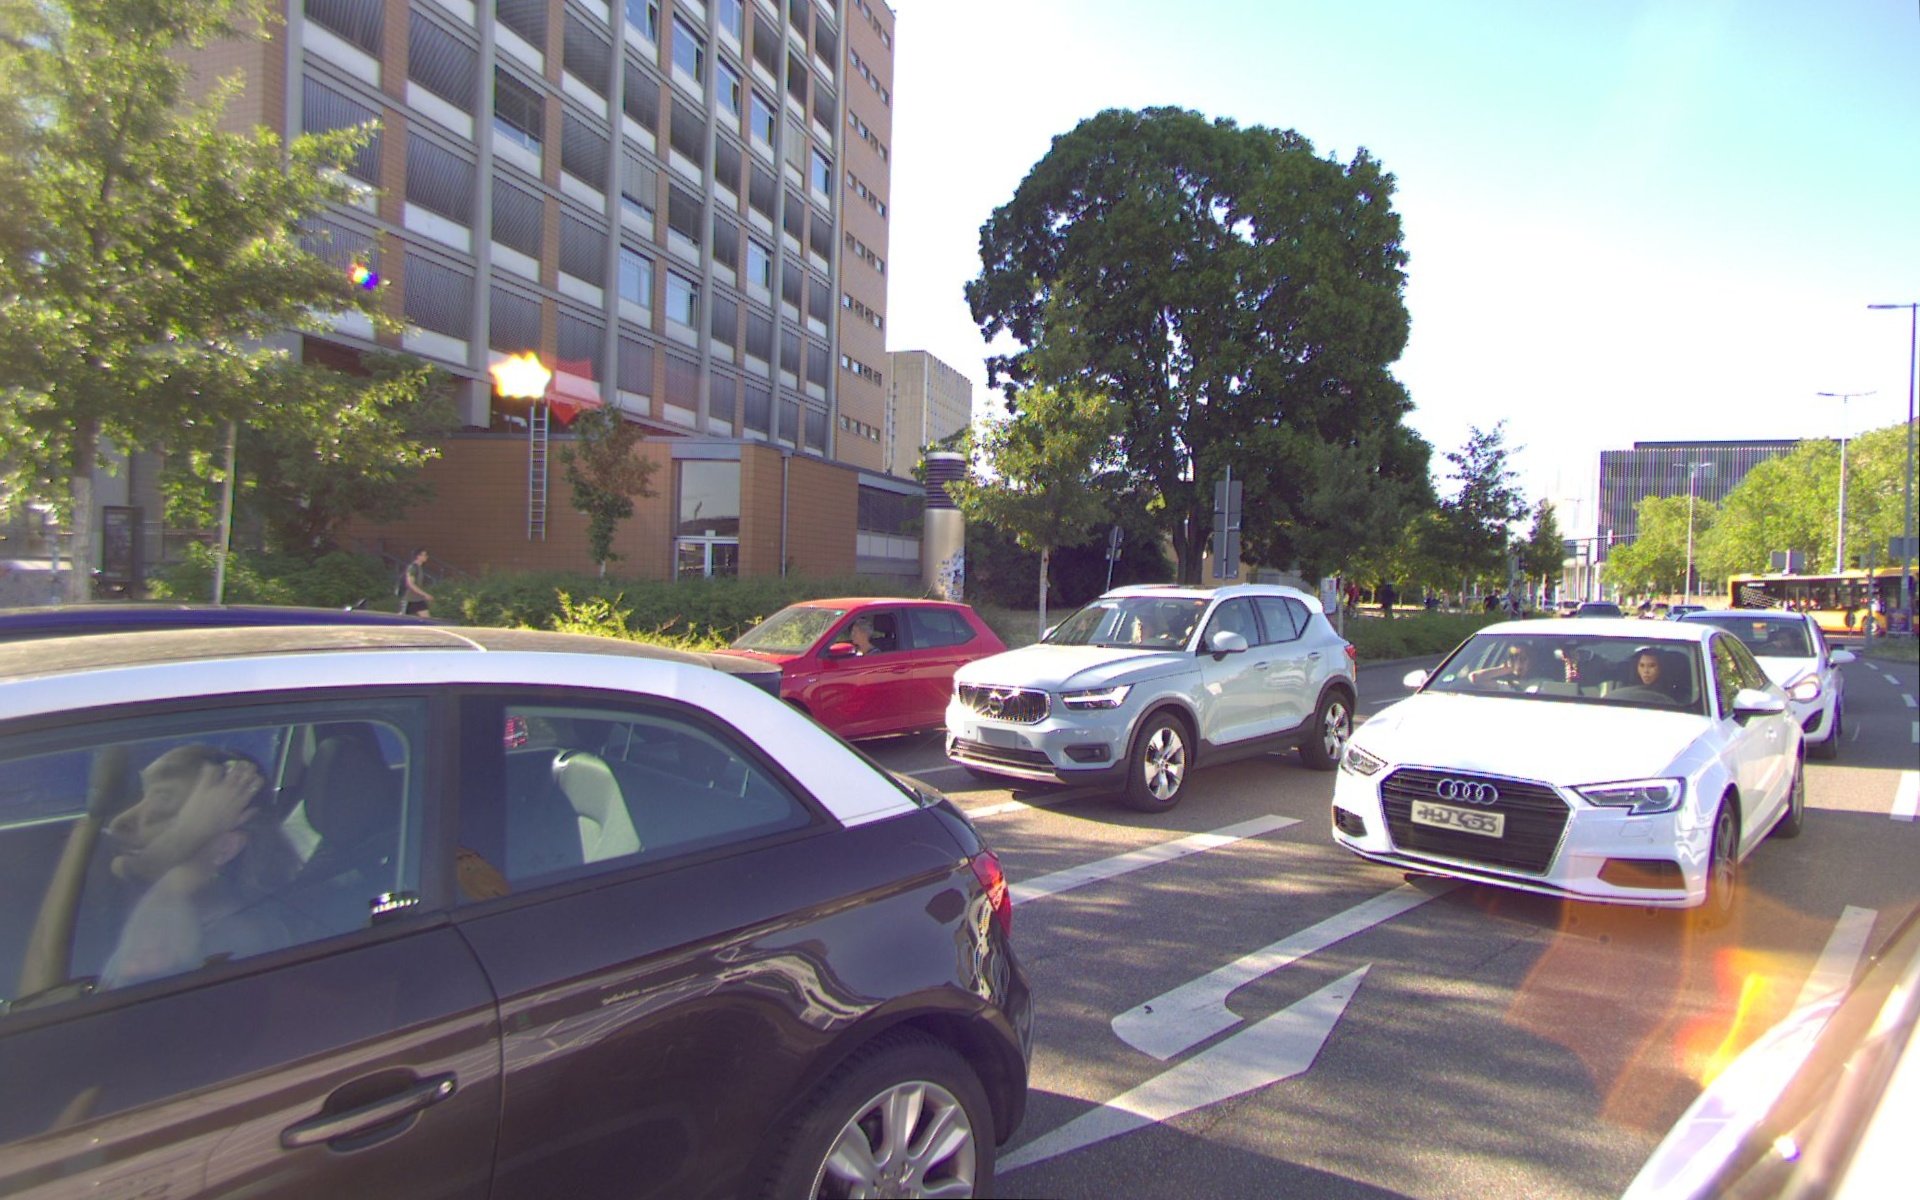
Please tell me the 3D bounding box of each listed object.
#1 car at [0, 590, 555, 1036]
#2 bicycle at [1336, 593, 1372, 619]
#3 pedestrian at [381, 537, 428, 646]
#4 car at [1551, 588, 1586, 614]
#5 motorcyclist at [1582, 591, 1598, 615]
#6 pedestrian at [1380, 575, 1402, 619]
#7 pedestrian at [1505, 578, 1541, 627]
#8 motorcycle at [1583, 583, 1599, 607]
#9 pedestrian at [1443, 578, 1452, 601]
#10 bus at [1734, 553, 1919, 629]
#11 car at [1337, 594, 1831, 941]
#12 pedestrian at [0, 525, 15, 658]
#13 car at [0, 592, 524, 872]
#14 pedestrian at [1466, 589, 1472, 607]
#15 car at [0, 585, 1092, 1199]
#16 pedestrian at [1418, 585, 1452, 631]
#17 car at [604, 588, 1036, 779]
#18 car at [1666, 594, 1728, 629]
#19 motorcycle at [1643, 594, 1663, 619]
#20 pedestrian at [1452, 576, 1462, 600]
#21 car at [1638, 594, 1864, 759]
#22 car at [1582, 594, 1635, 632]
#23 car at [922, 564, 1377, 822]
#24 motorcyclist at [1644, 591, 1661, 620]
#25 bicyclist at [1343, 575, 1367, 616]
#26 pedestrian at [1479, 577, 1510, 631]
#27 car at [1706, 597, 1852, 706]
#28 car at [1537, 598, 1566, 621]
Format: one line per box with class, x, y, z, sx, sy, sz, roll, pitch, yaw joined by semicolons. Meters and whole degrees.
car;-3.764;0.684;3.720;3.930;1.422;1.626;-1;0;-41
bicycle;15.634;0.233;40.124;0.657;0.975;2.005;2;2;41
pedestrian;-9.880;-0.152;18.020;0.681;1.910;0.465;0;0;-24
car;41.256;0.040;68.650;1.730;1.727;3.962;2;1;27
motorcyclist;35.144;0.150;56.442;0.713;1.321;0.727;0;0;33
pedestrian;16.016;-0.100;37.591;0.593;1.615;0.586;0;0;41
pedestrian;23.846;0.100;42.884;1.137;2.039;1.268;0;0;39
motorcycle;35.227;-0.290;56.515;0.713;1.321;2.209;0;0;33
pedestrian;32.802;-0.688;68.110;0.543;1.549;0.598;0;0;30
bus;43.091;-0.443;48.812;3.034;3.252;12.523;0;1;6
car;3.942;0.688;6.117;3.769;1.422;1.625;-1;0;-43
pedestrian;-12.409;-0.121;12.846;0.592;1.660;0.678;0;4;-43
car;-5.212;0.678;6.124;4.434;1.422;1.725;-1;1;-42
pedestrian;50.919;-0.205;101.198;0.475;1.706;0.399;1;1;-41
car;-1.715;0.694;1.582;3.930;1.422;1.626;-1;0;-41
pedestrian;18.039;0.296;38.410;1.005;1.742;0.873;0;0;39
car;-1.195;0.629;9.843;3.974;1.478;1.625;-1;0;-43
car;33.468;0.499;46.050;1.741;1.478;4.146;0;0;29
motorcycle;38.425;0.337;56.098;0.712;1.321;2.212;0;0;29
pedestrian;33.319;-0.818;67.815;0.543;1.627;0.598;0;0;30
car;8.870;0.687;11.223;1.623;1.478;3.979;0;1;43
car;27.193;0.495;42.393;1.745;1.478;4.137;0;0;34
car;1.770;0.568;8.457;4.153;1.641;1.625;-1;0;-43
motorcyclist;38.336;0.314;56.008;0.705;1.610;0.683;0;0;30
bicyclist;15.651;-0.182;40.098;0.615;1.580;0.858;0;0;41
pedestrian;20.829;0.149;39.434;0.891;2.039;0.870;0;0;39
car;13.108;0.709;16.118;1.622;1.478;3.981;0;0;42
car;47.582;0.745;81.453;1.730;1.727;3.962;2;1;27
